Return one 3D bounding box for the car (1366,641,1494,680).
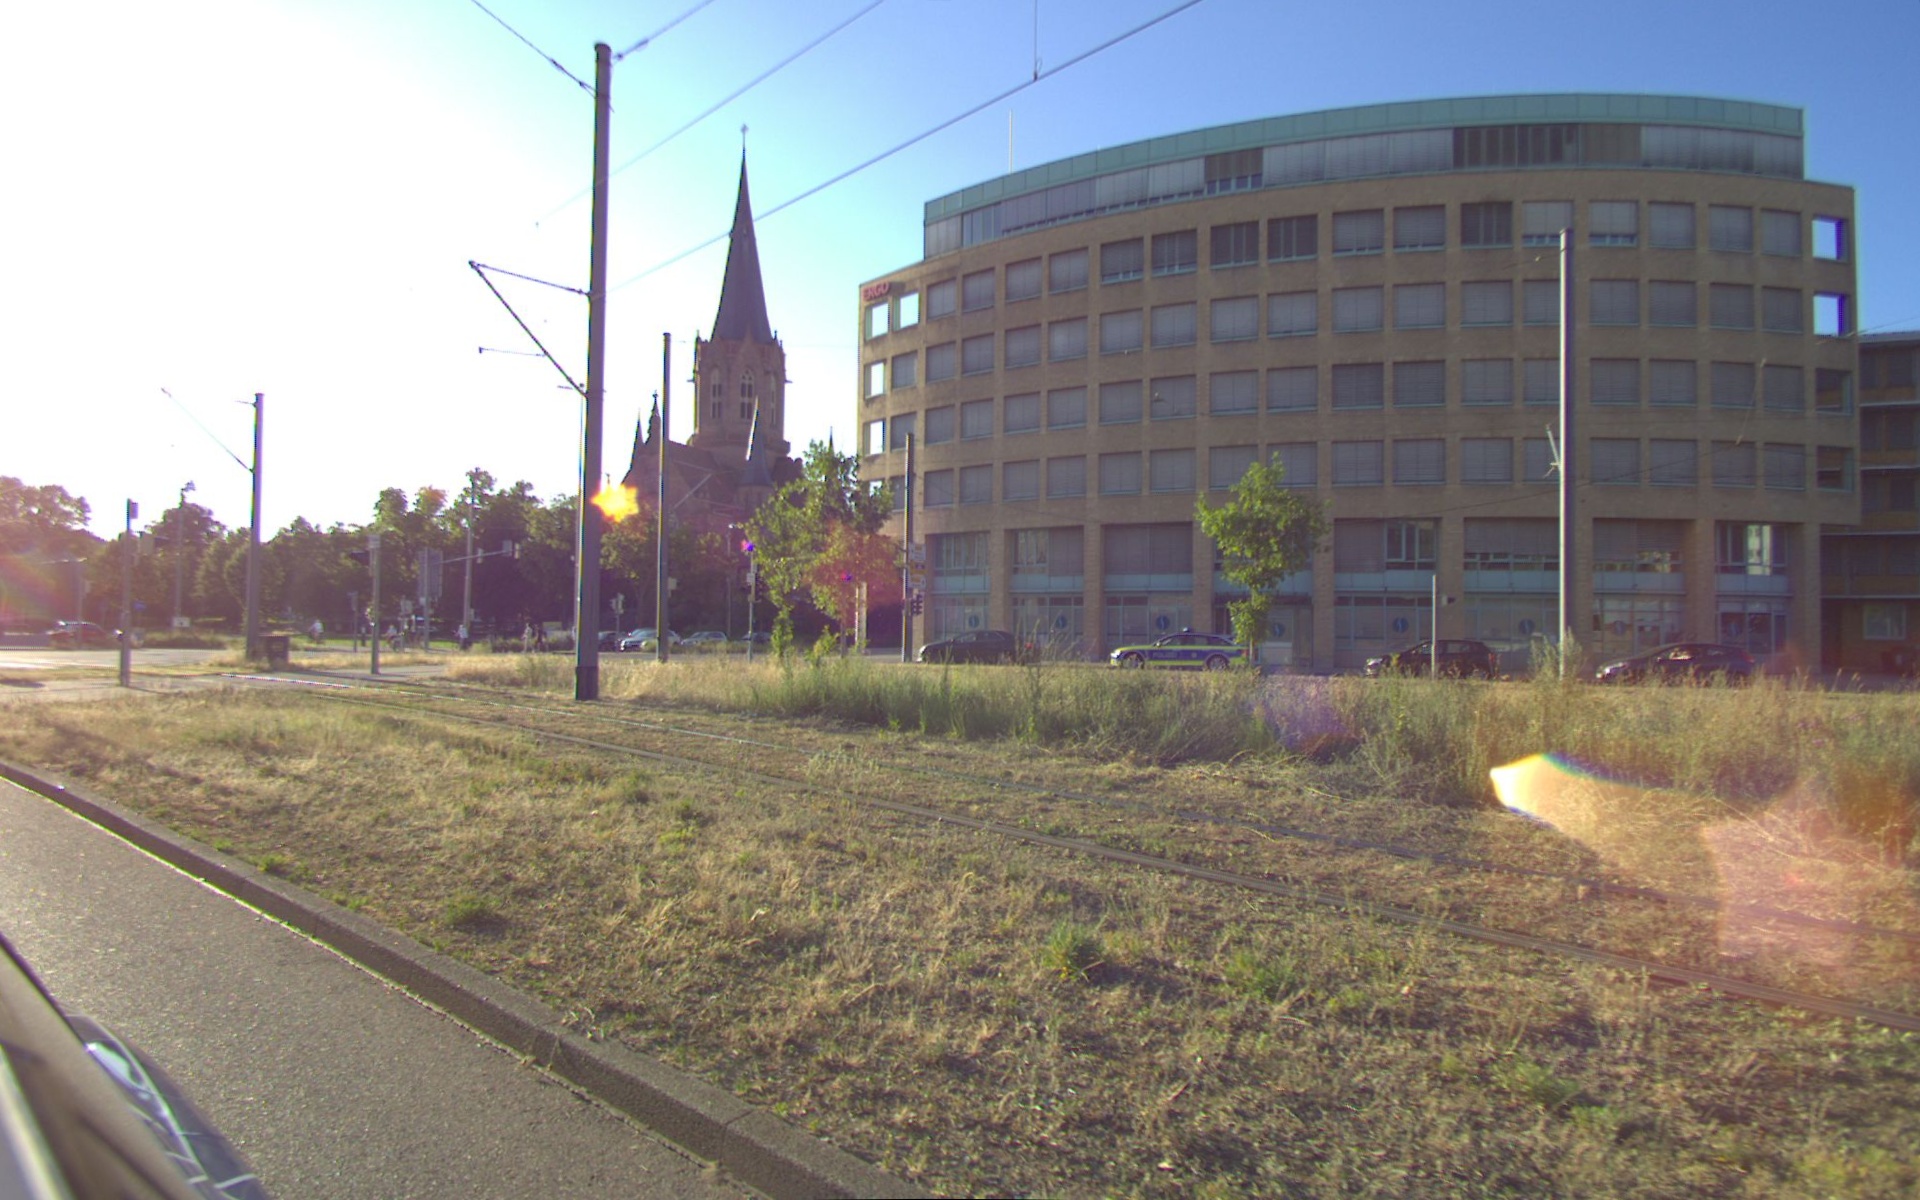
[{"bbox_3d":[15.013,1.922,32.508,3.572,1.162,1.514,0,-2,21],"label":"car"}]

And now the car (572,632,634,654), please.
[{"bbox_3d":[-24.557,2.951,69.656,1.889,1.431,3.970,0,-2,22],"label":"car"}]

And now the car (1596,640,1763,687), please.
[{"bbox_3d":[21.210,1.849,30.020,3.715,1.291,1.639,-1,-2,23],"label":"car"}]

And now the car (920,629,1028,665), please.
[{"bbox_3d":[0.536,1.759,38.494,3.763,1.292,1.717,0,-2,22],"label":"car"}]

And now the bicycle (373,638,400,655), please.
[{"bbox_3d":[-36.771,2.986,64.907,1.917,1.034,0.456,-1,-1,23],"label":"bicycle"}]

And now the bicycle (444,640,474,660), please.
[{"bbox_3d":[-30.535,3.046,61.668,1.906,1.155,0.456,-1,-1,21],"label":"bicycle"}]

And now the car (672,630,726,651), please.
[{"bbox_3d":[-19.097,2.958,74.245,1.889,1.431,3.970,0,-2,22],"label":"car"}]

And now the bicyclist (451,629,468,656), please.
[{"bbox_3d":[-30.496,2.579,61.661,0.815,1.595,0.517,-1,-1,22],"label":"bicyclist"}]

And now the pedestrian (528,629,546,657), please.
[{"bbox_3d":[-25.974,2.625,62.125,0.713,1.685,0.732,-1,-2,25],"label":"pedestrian"}]

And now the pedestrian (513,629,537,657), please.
[{"bbox_3d":[-26.398,2.619,61.426,1.099,1.685,0.732,-1,-2,25],"label":"pedestrian"}]

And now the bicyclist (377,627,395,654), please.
[{"bbox_3d":[-36.810,2.602,64.904,0.888,1.693,0.571,-1,-1,22],"label":"bicyclist"}]

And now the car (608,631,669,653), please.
[{"bbox_3d":[-21.734,2.798,68.530,1.889,1.431,3.970,0,-2,22],"label":"car"}]

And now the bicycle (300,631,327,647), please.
[{"bbox_3d":[-44.198,2.660,69.207,1.917,1.034,0.521,-1,0,22],"label":"bicycle"}]

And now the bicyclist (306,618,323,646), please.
[{"bbox_3d":[-44.131,2.183,69.157,0.888,1.841,0.571,-1,-1,22],"label":"bicyclist"}]

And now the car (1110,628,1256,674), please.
[{"bbox_3d":[7.795,1.748,35.378,4.751,1.492,1.880,0,-2,23],"label":"car"}]

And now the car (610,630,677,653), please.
[{"bbox_3d":[-20.199,2.644,64.683,1.892,1.431,3.966,0,-2,25],"label":"car"}]

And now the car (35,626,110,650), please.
[{"bbox_3d":[-54.890,2.350,62.585,3.853,1.425,1.720,0,-2,18],"label":"car"}]
